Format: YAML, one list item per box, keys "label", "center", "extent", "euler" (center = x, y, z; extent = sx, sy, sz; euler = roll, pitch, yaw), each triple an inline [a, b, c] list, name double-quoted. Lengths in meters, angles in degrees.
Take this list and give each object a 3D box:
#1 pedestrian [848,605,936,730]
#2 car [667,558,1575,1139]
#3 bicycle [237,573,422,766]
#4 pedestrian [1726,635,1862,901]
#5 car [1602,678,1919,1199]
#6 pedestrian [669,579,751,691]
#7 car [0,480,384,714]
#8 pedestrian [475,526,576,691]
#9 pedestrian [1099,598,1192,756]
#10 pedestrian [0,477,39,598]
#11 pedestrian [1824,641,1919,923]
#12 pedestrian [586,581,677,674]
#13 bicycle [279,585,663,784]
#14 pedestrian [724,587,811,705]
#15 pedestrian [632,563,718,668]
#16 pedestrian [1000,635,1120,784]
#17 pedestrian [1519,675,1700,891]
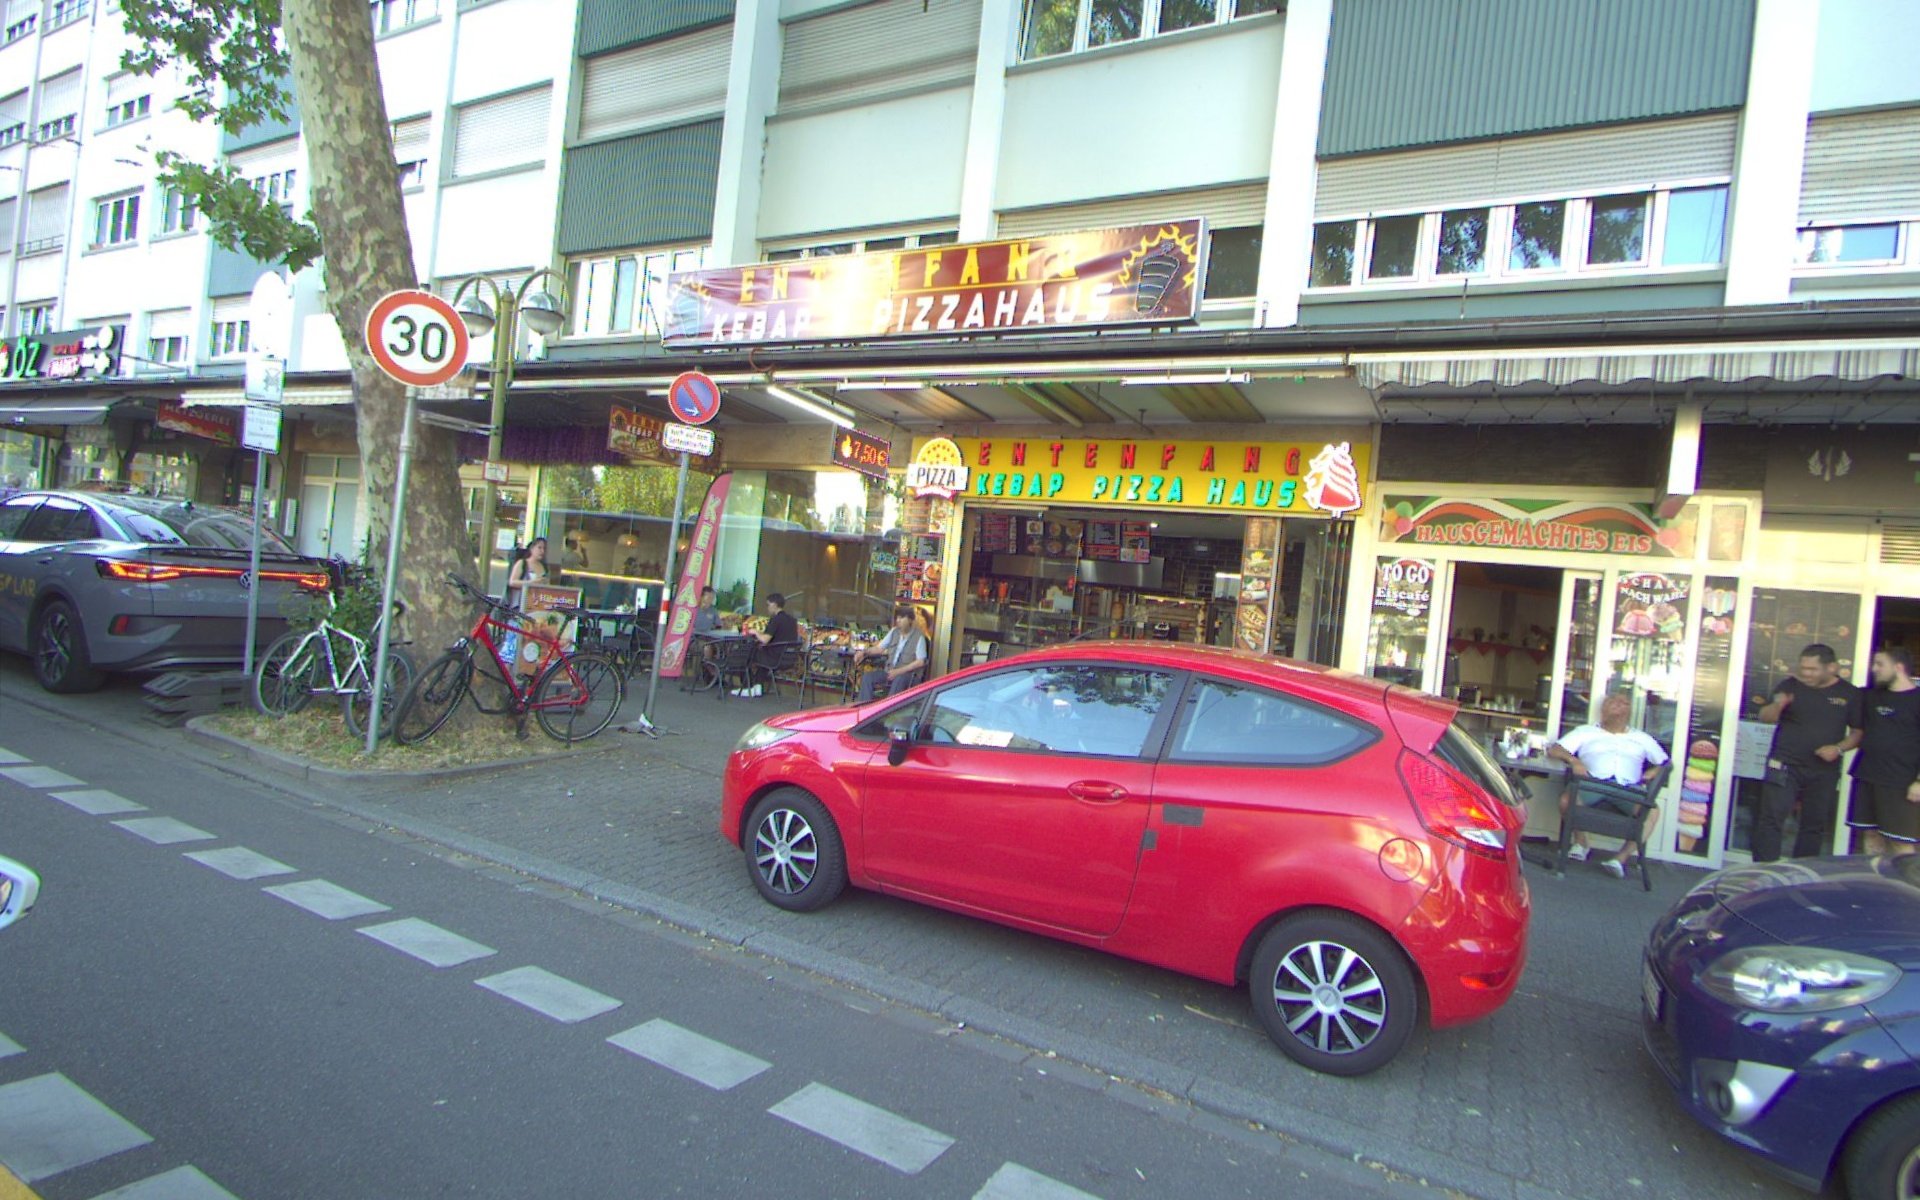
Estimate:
- label: "pedestrian"
  center: [-0.725, 0.714, 10.823]
  extent: [0.550, 1.252, 0.689]
  euler: [7, 2, 29]
- label: "car"
  center: [0.655, 0.793, 4.926]
  extent: [3.757, 1.617, 1.783]
  euler: [6, 3, 28]
- label: "bicycle"
  center: [-4.554, 0.467, 7.238]
  extent: [1.421, 1.169, 0.553]
  euler: [6, 0, 36]
- label: "pedestrian"
  center: [6.000, 1.180, 7.266]
  extent: [0.547, 1.802, 0.395]
  euler: [6, 2, 29]
- label: "car"
  center: [4.087, 1.244, 2.864]
  extent: [3.549, 1.488, 1.767]
  euler: [6, 3, 29]
- label: "pedestrian"
  center: [-3.027, 0.426, 12.182]
  extent: [0.680, 1.261, 0.557]
  euler: [7, 2, 38]
- label: "car"
  center: [-7.645, -0.157, 9.248]
  extent: [4.292, 1.603, 1.996]
  euler: [7, 2, 27]
- label: "pedestrian"
  center: [-4.672, 0.080, 10.818]
  extent: [0.783, 1.669, 0.582]
  euler: [7, 4, 30]
- label: "pedestrian"
  center: [1.985, 0.814, 10.733]
  extent: [0.589, 1.566, 0.700]
  euler: [7, 0, 34]
- label: "pedestrian"
  center: [-13.789, -0.914, 14.506]
  extent: [0.661, 1.688, 0.593]
  euler: [4, 2, -42]
- label: "pedestrian"
  center: [6.387, 1.211, 6.828]
  extent: [0.391, 1.805, 0.552]
  euler: [4, 2, -29]
- label: "pedestrian"
  center: [-4.305, 0.356, 13.238]
  extent: [0.940, 1.094, 0.639]
  euler: [7, 0, -9]
- label: "bicycle"
  center: [-3.332, 0.521, 7.100]
  extent: [0.547, 1.171, 2.377]
  euler: [7, 4, 44]
- label: "pedestrian"
  center: [-2.233, 0.527, 11.669]
  extent: [0.679, 1.261, 0.558]
  euler: [7, 2, 33]
- label: "pedestrian"
  center: [-4.071, 0.218, 14.454]
  extent: [0.958, 1.350, 0.830]
  euler: [6, 0, -9]
- label: "pedestrian"
  center: [0.929, 0.978, 9.285]
  extent: [0.798, 1.225, 0.654]
  euler: [7, 2, 28]
- label: "pedestrian"
  center: [4.802, 1.296, 7.528]
  extent: [0.937, 1.352, 1.069]
  euler: [7, 0, 30]
